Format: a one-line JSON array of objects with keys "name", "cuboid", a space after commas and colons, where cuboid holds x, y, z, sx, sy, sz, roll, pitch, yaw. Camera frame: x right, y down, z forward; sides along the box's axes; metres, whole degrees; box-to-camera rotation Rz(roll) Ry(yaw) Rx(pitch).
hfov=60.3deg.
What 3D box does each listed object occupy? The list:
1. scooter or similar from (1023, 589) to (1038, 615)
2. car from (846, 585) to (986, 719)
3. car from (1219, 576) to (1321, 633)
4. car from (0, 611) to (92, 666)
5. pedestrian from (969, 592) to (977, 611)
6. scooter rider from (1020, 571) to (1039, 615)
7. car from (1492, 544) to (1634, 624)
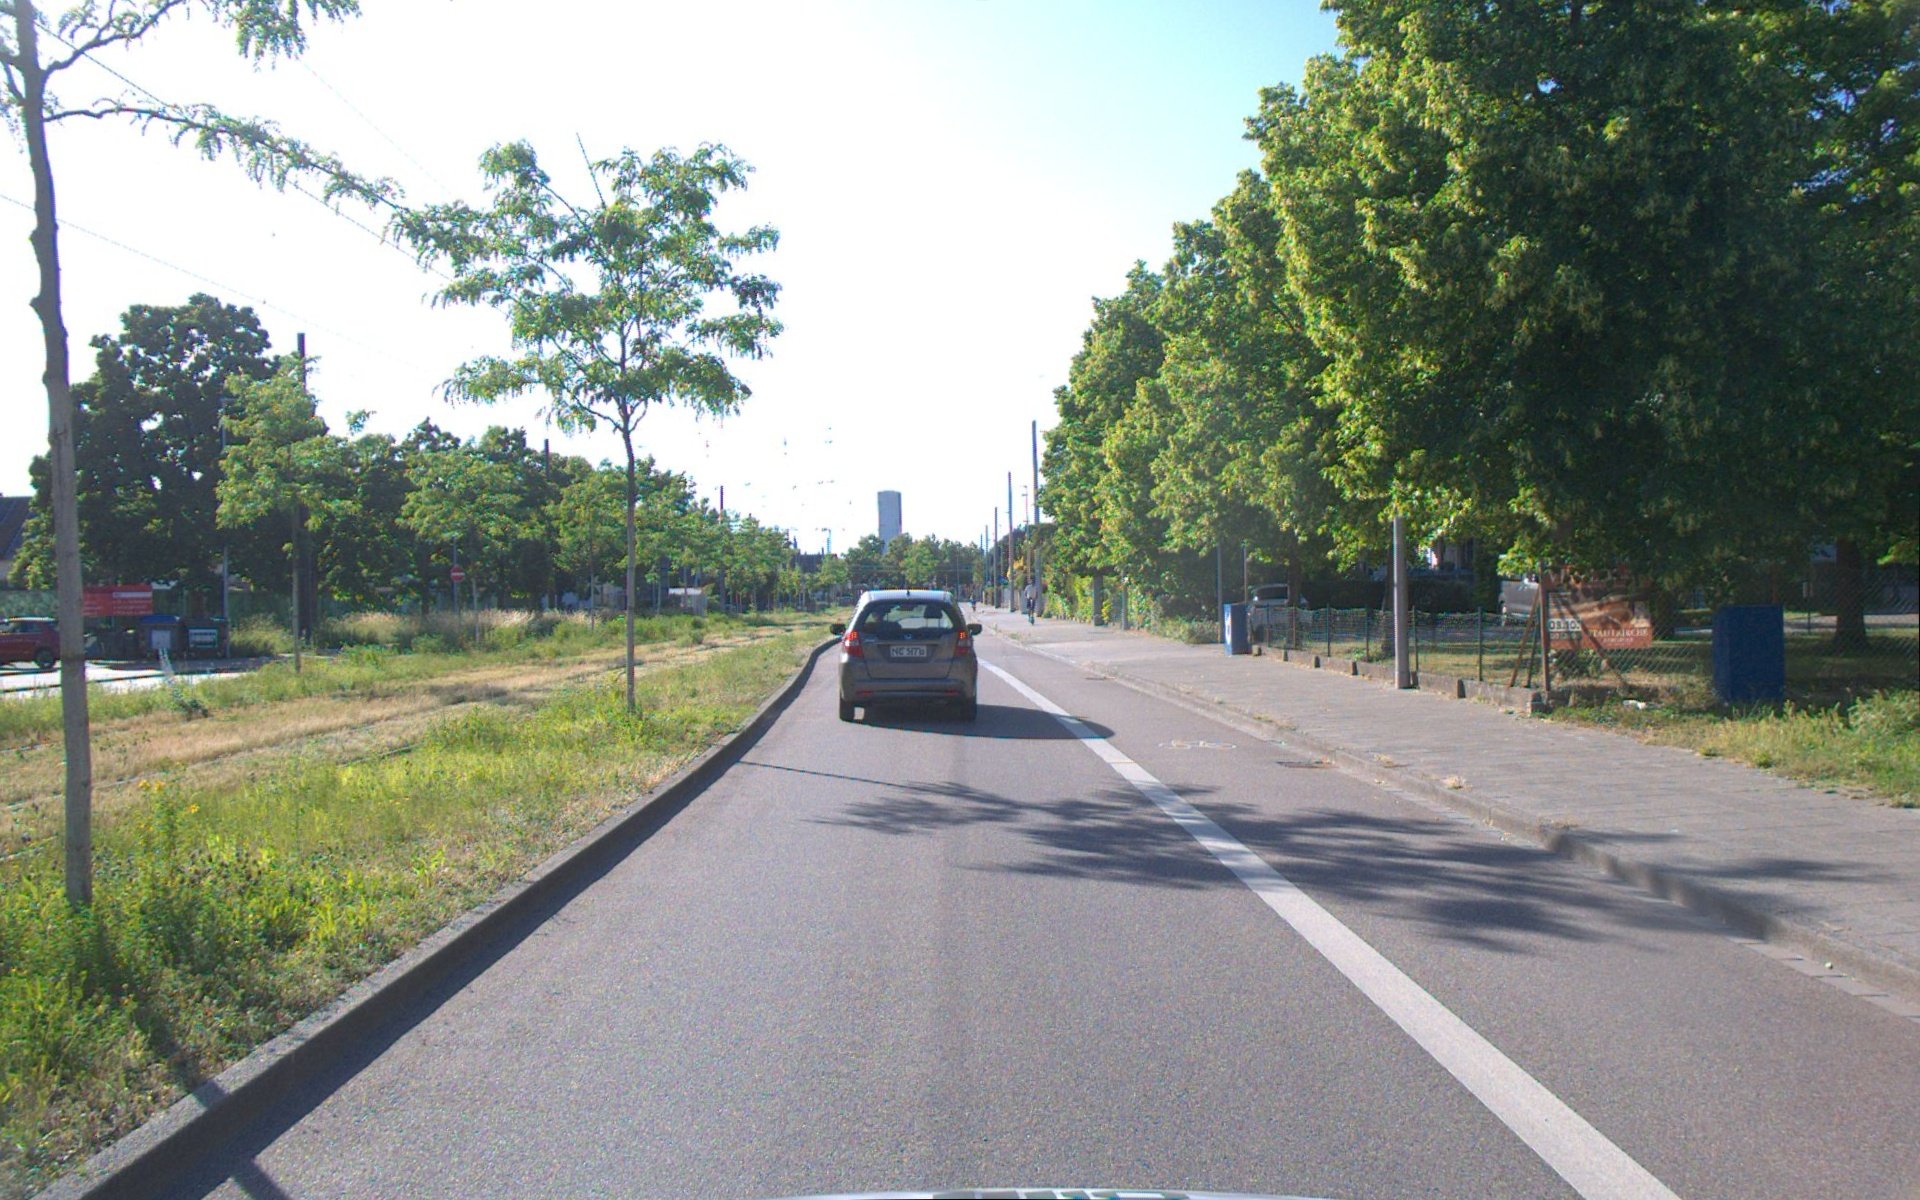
[{"name": "scooter or similar", "cuboid": [3.127, 0.075, 73.480, 0.528, 1.138, 1.416, -2, 0, -3]}, {"name": "car", "cuboid": [-0.579, 0.584, 20.616, 1.592, 1.526, 3.455, 0, 0, -3]}, {"name": "car", "cuboid": [8.292, 0.116, 44.478, 1.739, 1.411, 3.867, -2, 0, -4]}, {"name": "car", "cuboid": [-29.343, 1.210, 51.126, 3.990, 1.596, 1.791, -2, 0, -3]}, {"name": "pedestrian", "cuboid": [1.348, 0.160, 166.442, 0.707, 1.832, 1.164, -2, 0, -2]}, {"name": "scooter rider", "cuboid": [3.101, -0.303, 73.592, 0.702, 1.934, 0.934, -2, 0, -3]}, {"name": "car", "cuboid": [16.051, -0.394, 44.348, 1.834, 2.001, 5.166, -1, 0, -1]}]
